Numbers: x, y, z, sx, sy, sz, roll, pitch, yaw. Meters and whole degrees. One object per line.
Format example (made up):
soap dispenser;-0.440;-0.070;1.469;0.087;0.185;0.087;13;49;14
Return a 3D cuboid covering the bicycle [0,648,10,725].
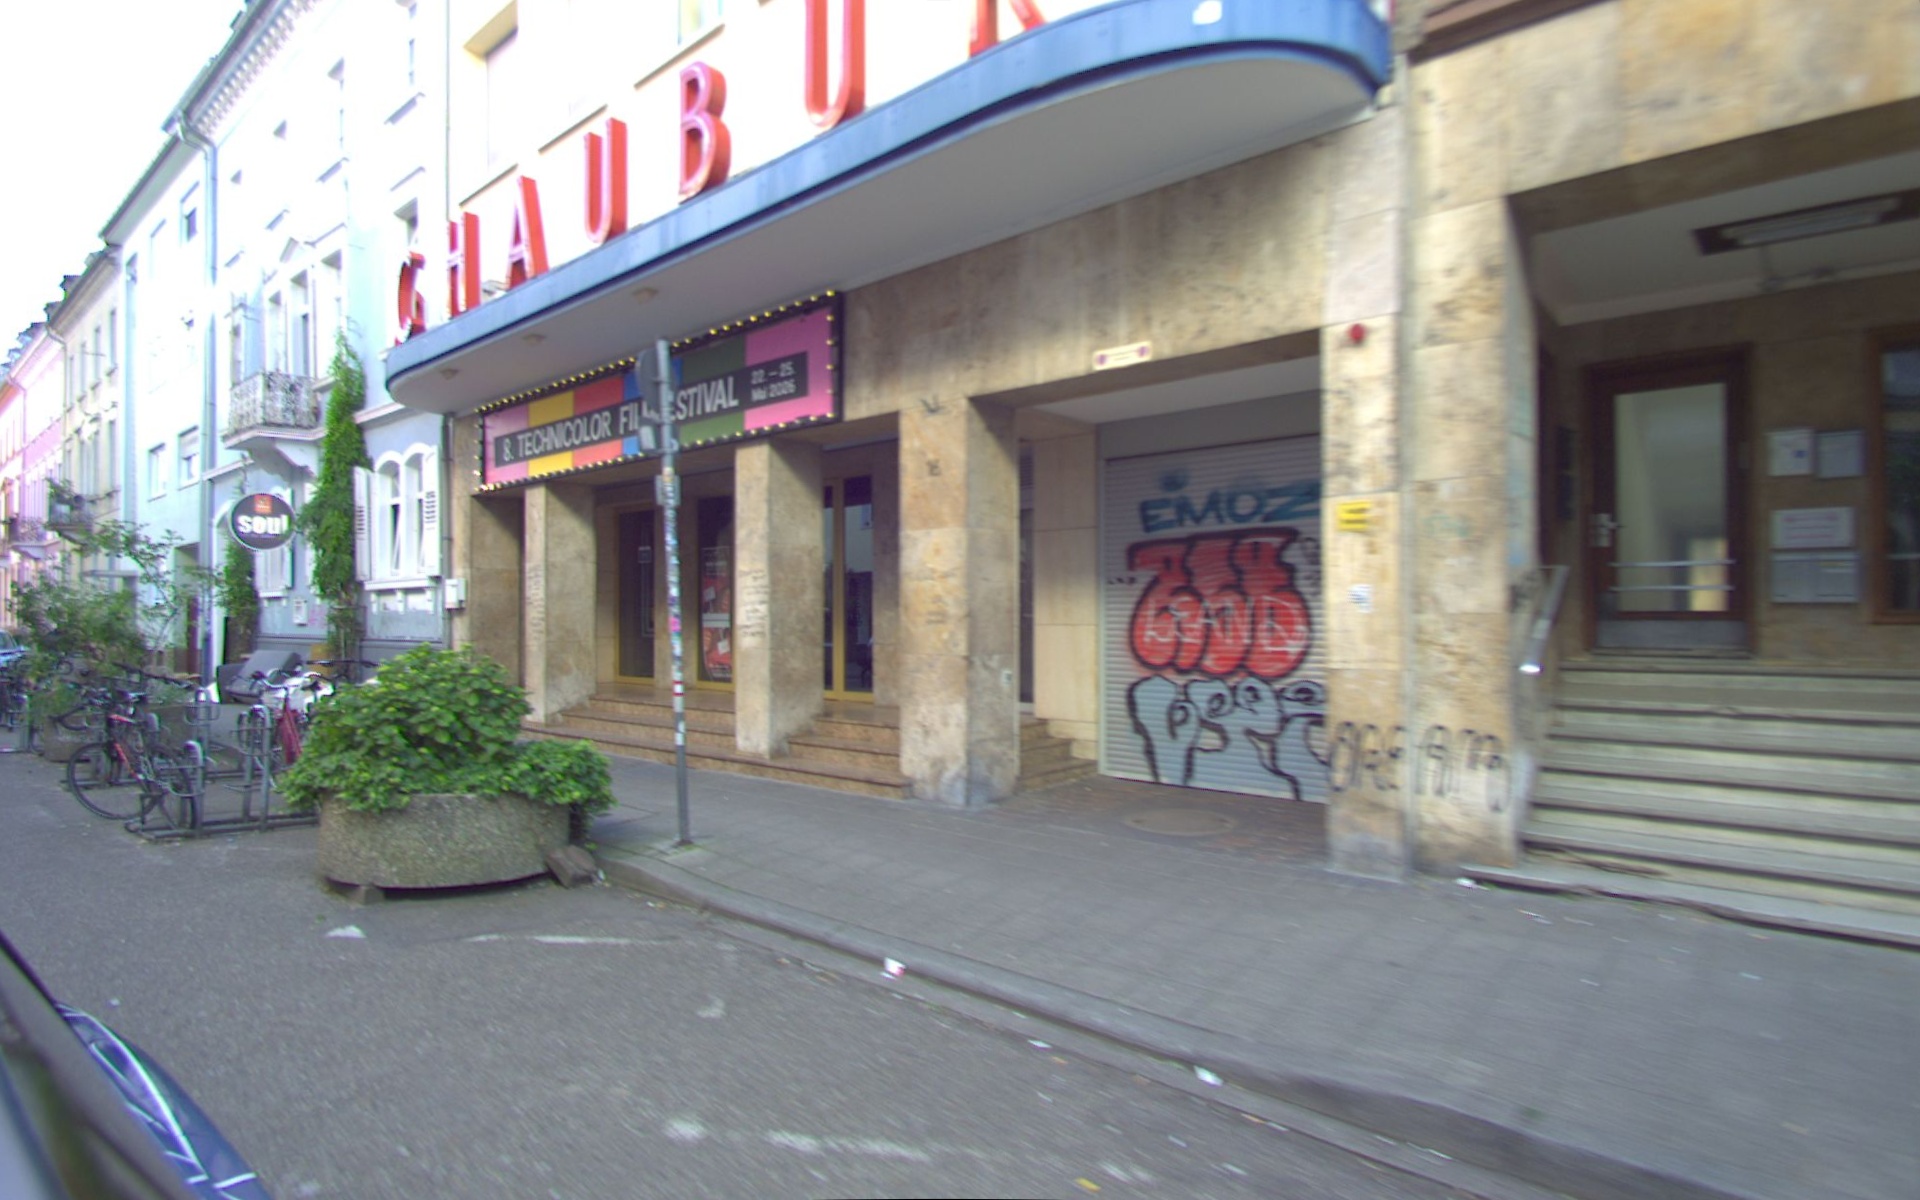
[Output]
bicycle;-15.068;1.315;15.559;1.829;1.114;0.494;-1;-1;41

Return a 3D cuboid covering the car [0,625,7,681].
car;-26.956;1.402;27.042;3.998;1.463;1.771;-1;-2;41

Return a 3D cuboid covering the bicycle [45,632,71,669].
bicycle;-28.085;1.567;31.510;1.494;1.110;0.413;-1;-1;41

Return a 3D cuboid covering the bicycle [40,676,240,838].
bicycle;-6.134;1.122;7.549;1.740;1.055;0.458;-1;0;26

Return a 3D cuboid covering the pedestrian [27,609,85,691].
pedestrian;-19.597;1.062;21.948;0.703;1.720;0.674;-1;0;-16

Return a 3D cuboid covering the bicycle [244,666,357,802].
bicycle;-5.792;1.133;8.862;1.316;1.055;0.413;-1;0;38

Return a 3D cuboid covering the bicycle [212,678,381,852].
bicycle;-4.873;1.139;7.378;1.862;1.055;0.438;-1;0;38

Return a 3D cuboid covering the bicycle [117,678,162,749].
bicycle;-10.576;1.443;13.035;1.299;0.824;0.253;-2;-1;42

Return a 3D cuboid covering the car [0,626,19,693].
car;-22.932;1.339;23.295;4.035;1.466;1.661;-2;-3;45

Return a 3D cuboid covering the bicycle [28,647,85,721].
bicycle;-14.814;1.343;16.575;1.872;1.114;0.439;-1;-1;40

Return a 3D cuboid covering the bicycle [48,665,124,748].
bicycle;-11.288;1.347;13.061;1.571;0.951;0.548;-2;-2;42

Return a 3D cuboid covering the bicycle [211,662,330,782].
bicycle;-6.860;1.169;10.047;1.407;1.053;0.568;-1;-1;37

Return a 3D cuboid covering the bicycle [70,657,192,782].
bicycle;-8.439;1.164;10.279;1.879;1.102;0.541;-1;0;38

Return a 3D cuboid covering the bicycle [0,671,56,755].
bicycle;-11.420;1.356;12.374;1.392;0.923;0.386;-2;-2;42

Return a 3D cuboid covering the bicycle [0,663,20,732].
bicycle;-13.822;1.391;14.556;1.290;0.923;0.318;-2;-2;42

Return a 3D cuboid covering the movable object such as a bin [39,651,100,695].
movable object such as a bin;-19.765;1.621;22.480;0.833;0.904;0.587;-1;0;-15

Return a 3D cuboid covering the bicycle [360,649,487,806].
bicycle;-4.515;1.023;8.479;1.488;1.182;0.335;-1;0;38

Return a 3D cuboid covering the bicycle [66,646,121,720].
bicycle;-14.141;1.331;16.503;1.697;1.114;0.439;-1;-1;41

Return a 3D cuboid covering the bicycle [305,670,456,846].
bicycle;-4.513;1.166;7.836;1.667;1.182;0.395;-1;0;38

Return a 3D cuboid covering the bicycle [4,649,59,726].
bicycle;-14.713;1.359;16.021;1.931;1.114;0.439;-1;-1;41

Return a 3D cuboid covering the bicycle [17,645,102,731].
bicycle;-13.295;1.267;14.938;0.919;1.184;0.805;-1;-1;39
